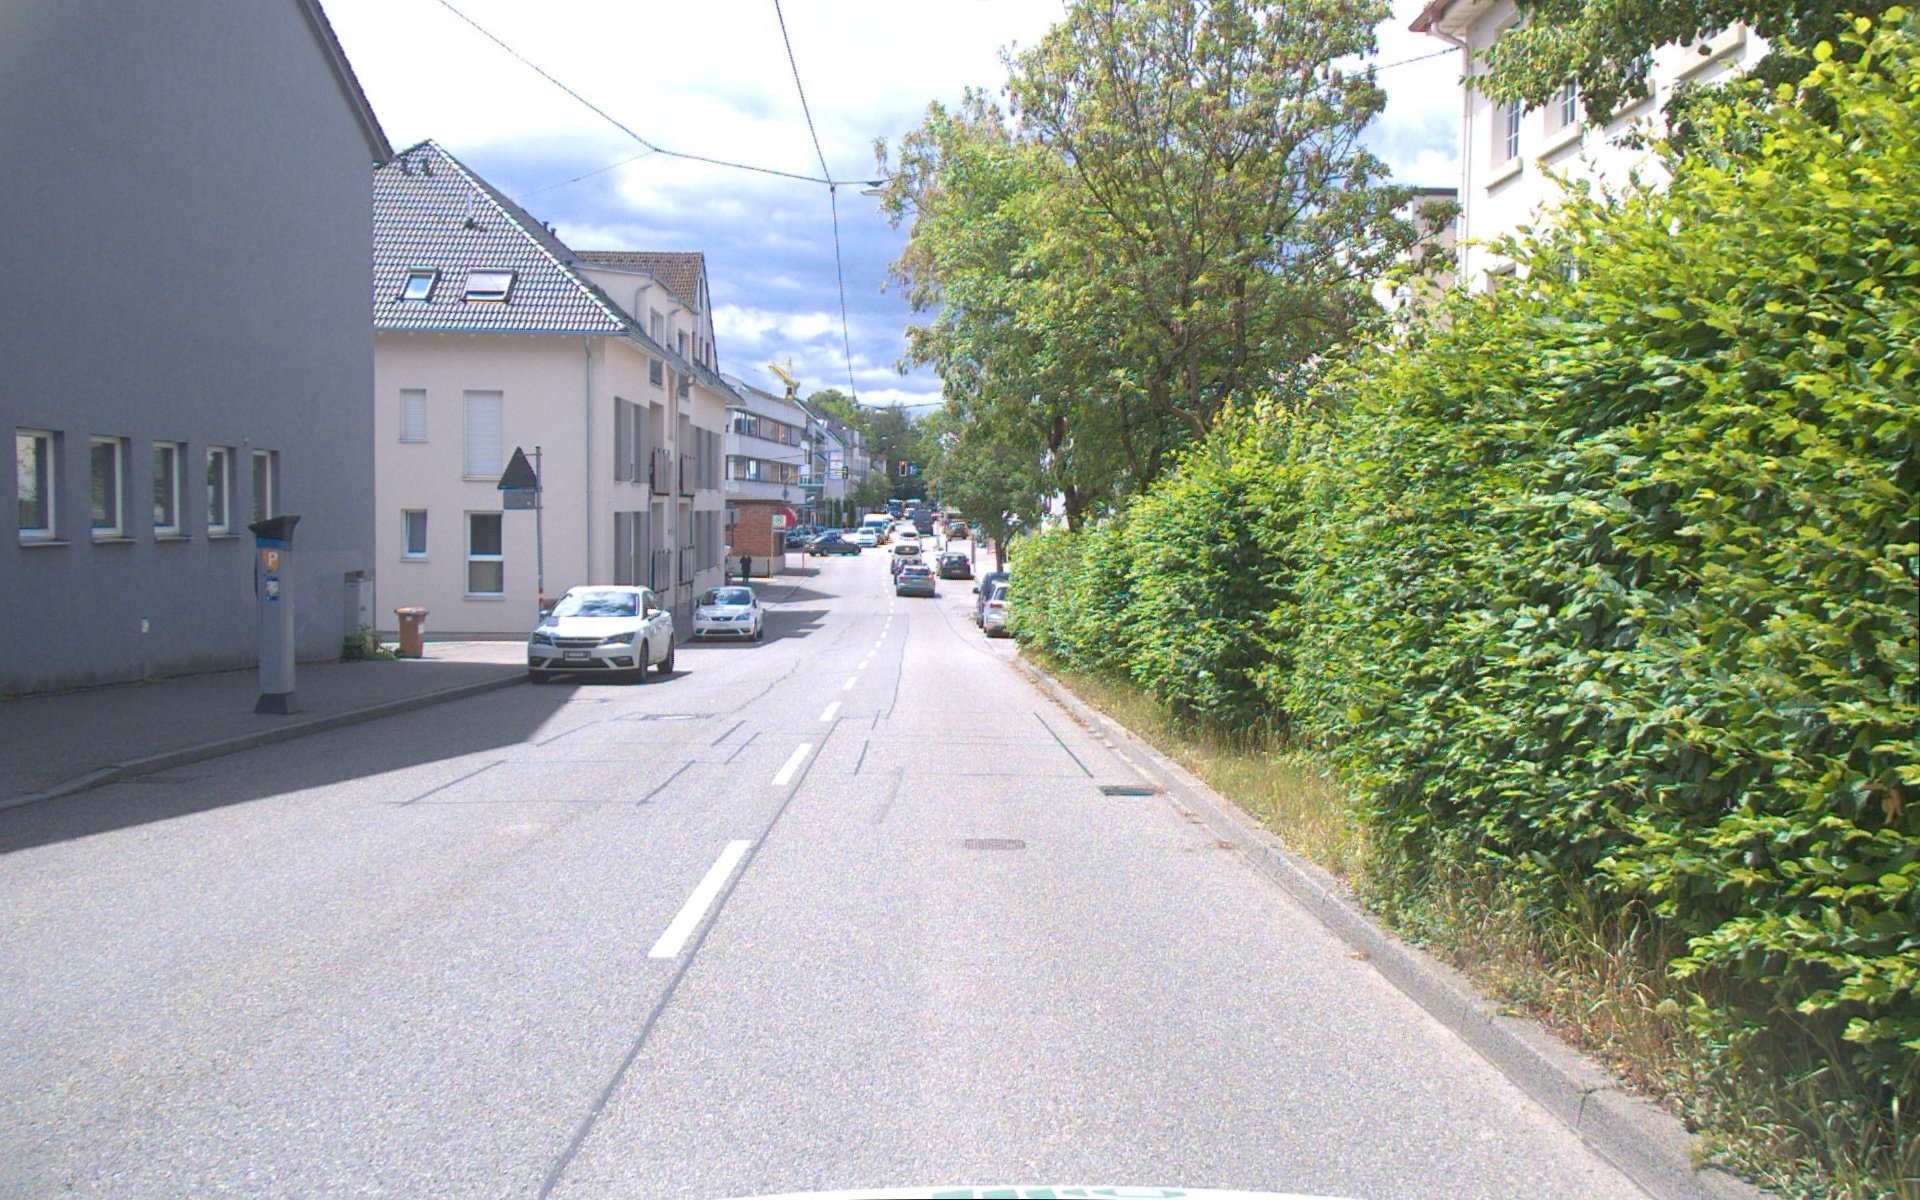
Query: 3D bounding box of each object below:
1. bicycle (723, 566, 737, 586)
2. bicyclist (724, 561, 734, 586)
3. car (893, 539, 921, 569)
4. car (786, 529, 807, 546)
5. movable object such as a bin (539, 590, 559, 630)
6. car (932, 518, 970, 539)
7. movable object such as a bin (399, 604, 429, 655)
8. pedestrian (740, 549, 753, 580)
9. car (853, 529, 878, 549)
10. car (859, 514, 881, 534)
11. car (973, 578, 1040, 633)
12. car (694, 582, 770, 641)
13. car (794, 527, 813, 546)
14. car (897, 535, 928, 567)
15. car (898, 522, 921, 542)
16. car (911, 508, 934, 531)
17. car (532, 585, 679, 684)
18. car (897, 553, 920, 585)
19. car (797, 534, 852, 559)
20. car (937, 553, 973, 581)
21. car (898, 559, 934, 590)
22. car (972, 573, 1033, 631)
[{"bbox_3d":[-11.038,-1.141,79.299,0.457,0.876,1.777,2,3,-2],"label":"bicycle"},{"bbox_3d":[-11.054,-1.283,79.150,0.448,1.199,0.624,0,2,-2],"label":"bicyclist"},{"bbox_3d":[-3.486,-3.065,110.006,1.799,1.894,3.850,1,1,-2],"label":"car"},{"bbox_3d":[-13.683,-5.218,138.433,1.520,1.400,3.398,0,1,-2],"label":"car"},{"bbox_3d":[-10.048,0.247,40.432,0.405,0.970,0.391,0,1,-5],"label":"movable object such as a bin"},{"bbox_3d":[-0.686,-5.810,134.011,1.744,1.584,4.001,0,1,21],"label":"car"},{"bbox_3d":[-10.342,0.552,31.342,0.445,0.945,0.399,-1,1,-2],"label":"movable object such as a bin"},{"bbox_3d":[-11.203,-1.853,86.742,0.617,1.630,0.560,1,1,-15],"label":"pedestrian"},{"bbox_3d":[-8.079,-5.228,142.254,1.834,1.668,4.001,2,1,1],"label":"car"},{"bbox_3d":[-8.476,-7.171,156.354,1.834,1.668,4.001,0,1,1],"label":"car"},{"bbox_3d":[1.356,0.125,49.701,1.750,1.535,4.364,1,1,-2],"label":"car"},{"bbox_3d":[-6.105,0.280,44.661,1.614,1.443,3.698,1,1,-2],"label":"car"},{"bbox_3d":[-13.591,-5.511,143.625,1.356,1.567,3.398,0,1,-2],"label":"car"},{"bbox_3d":[-2.885,-2.948,99.703,1.799,1.894,3.850,1,1,-2],"label":"car"},{"bbox_3d":[-4.186,-5.581,136.697,1.850,1.534,3.999,-1,1,-1],"label":"car"},{"bbox_3d":[-4.129,-8.714,179.945,2.387,2.358,5.325,2,2,-2],"label":"car"},{"bbox_3d":[-5.582,0.497,26.450,1.663,1.414,3.864,1,1,-3],"label":"car"},{"bbox_3d":[-2.789,-1.677,89.380,1.248,1.553,3.051,0,4,-2],"label":"car"},{"bbox_3d":[-9.813,-3.888,119.718,3.608,1.642,1.561,1,1,-29],"label":"car"},{"bbox_3d":[-0.334,-1.931,96.020,1.719,1.394,3.998,1,4,-5],"label":"car"},{"bbox_3d":[-2.133,-1.241,80.425,1.709,1.441,3.999,0,2,-2],"label":"car"},{"bbox_3d":[1.377,0.030,55.499,1.807,1.798,4.514,1,1,-2],"label":"car"}]
